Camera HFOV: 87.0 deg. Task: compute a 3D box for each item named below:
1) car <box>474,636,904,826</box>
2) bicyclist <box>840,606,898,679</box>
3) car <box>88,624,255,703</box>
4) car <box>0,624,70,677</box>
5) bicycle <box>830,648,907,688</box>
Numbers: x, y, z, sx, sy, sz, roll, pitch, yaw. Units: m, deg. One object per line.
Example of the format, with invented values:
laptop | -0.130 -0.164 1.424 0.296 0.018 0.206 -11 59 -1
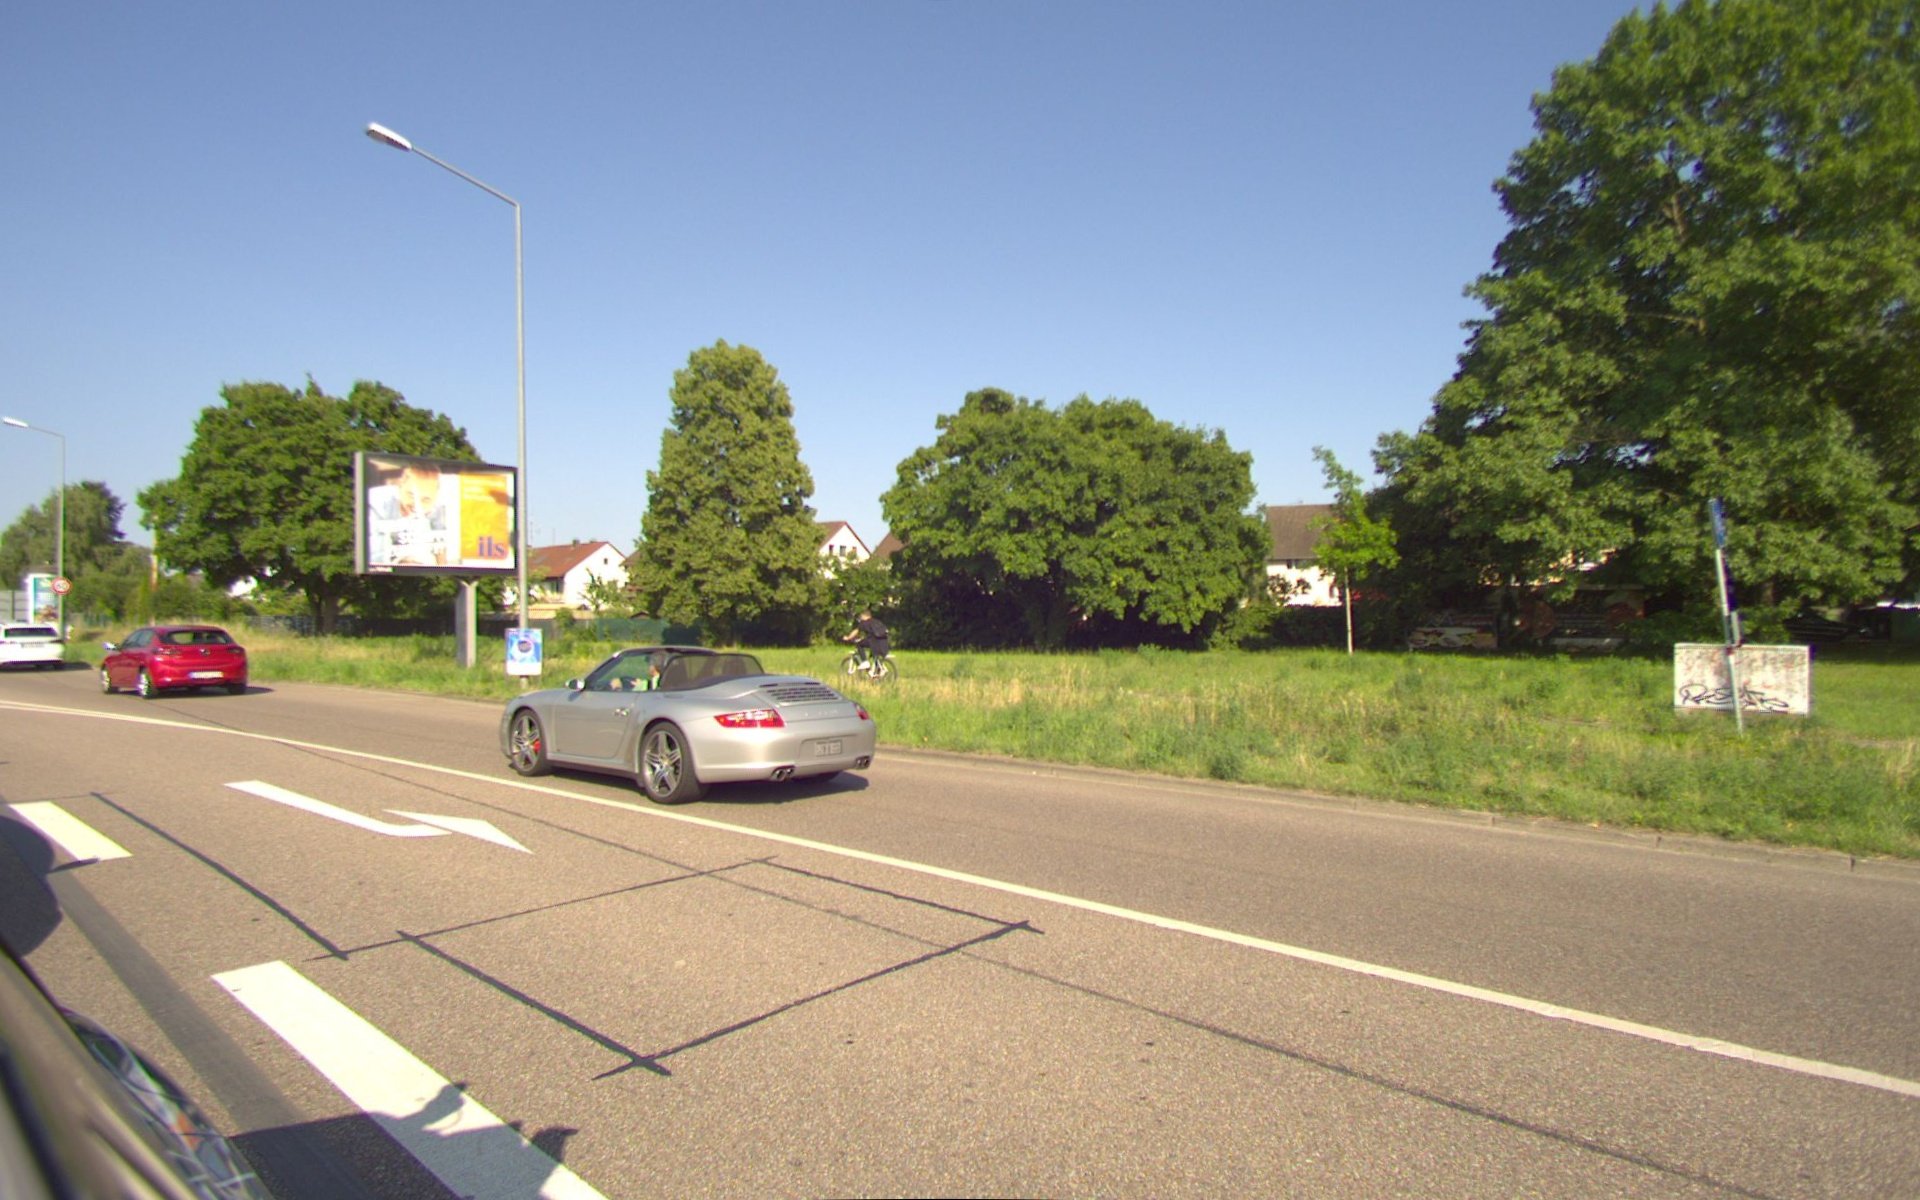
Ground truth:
car | -2.675 1.024 9.412 4.283 1.320 1.761 -1 -1 41
bicyclist | -1.876 0.862 20.773 1.071 1.439 0.630 -2 -2 42
car | -16.458 1.267 21.072 3.907 1.489 1.763 -1 -2 37
car | -28.498 1.483 30.402 4.264 1.489 1.763 -1 -2 36
bicycle | -1.903 1.374 20.763 1.834 0.759 0.449 -1 -1 42
